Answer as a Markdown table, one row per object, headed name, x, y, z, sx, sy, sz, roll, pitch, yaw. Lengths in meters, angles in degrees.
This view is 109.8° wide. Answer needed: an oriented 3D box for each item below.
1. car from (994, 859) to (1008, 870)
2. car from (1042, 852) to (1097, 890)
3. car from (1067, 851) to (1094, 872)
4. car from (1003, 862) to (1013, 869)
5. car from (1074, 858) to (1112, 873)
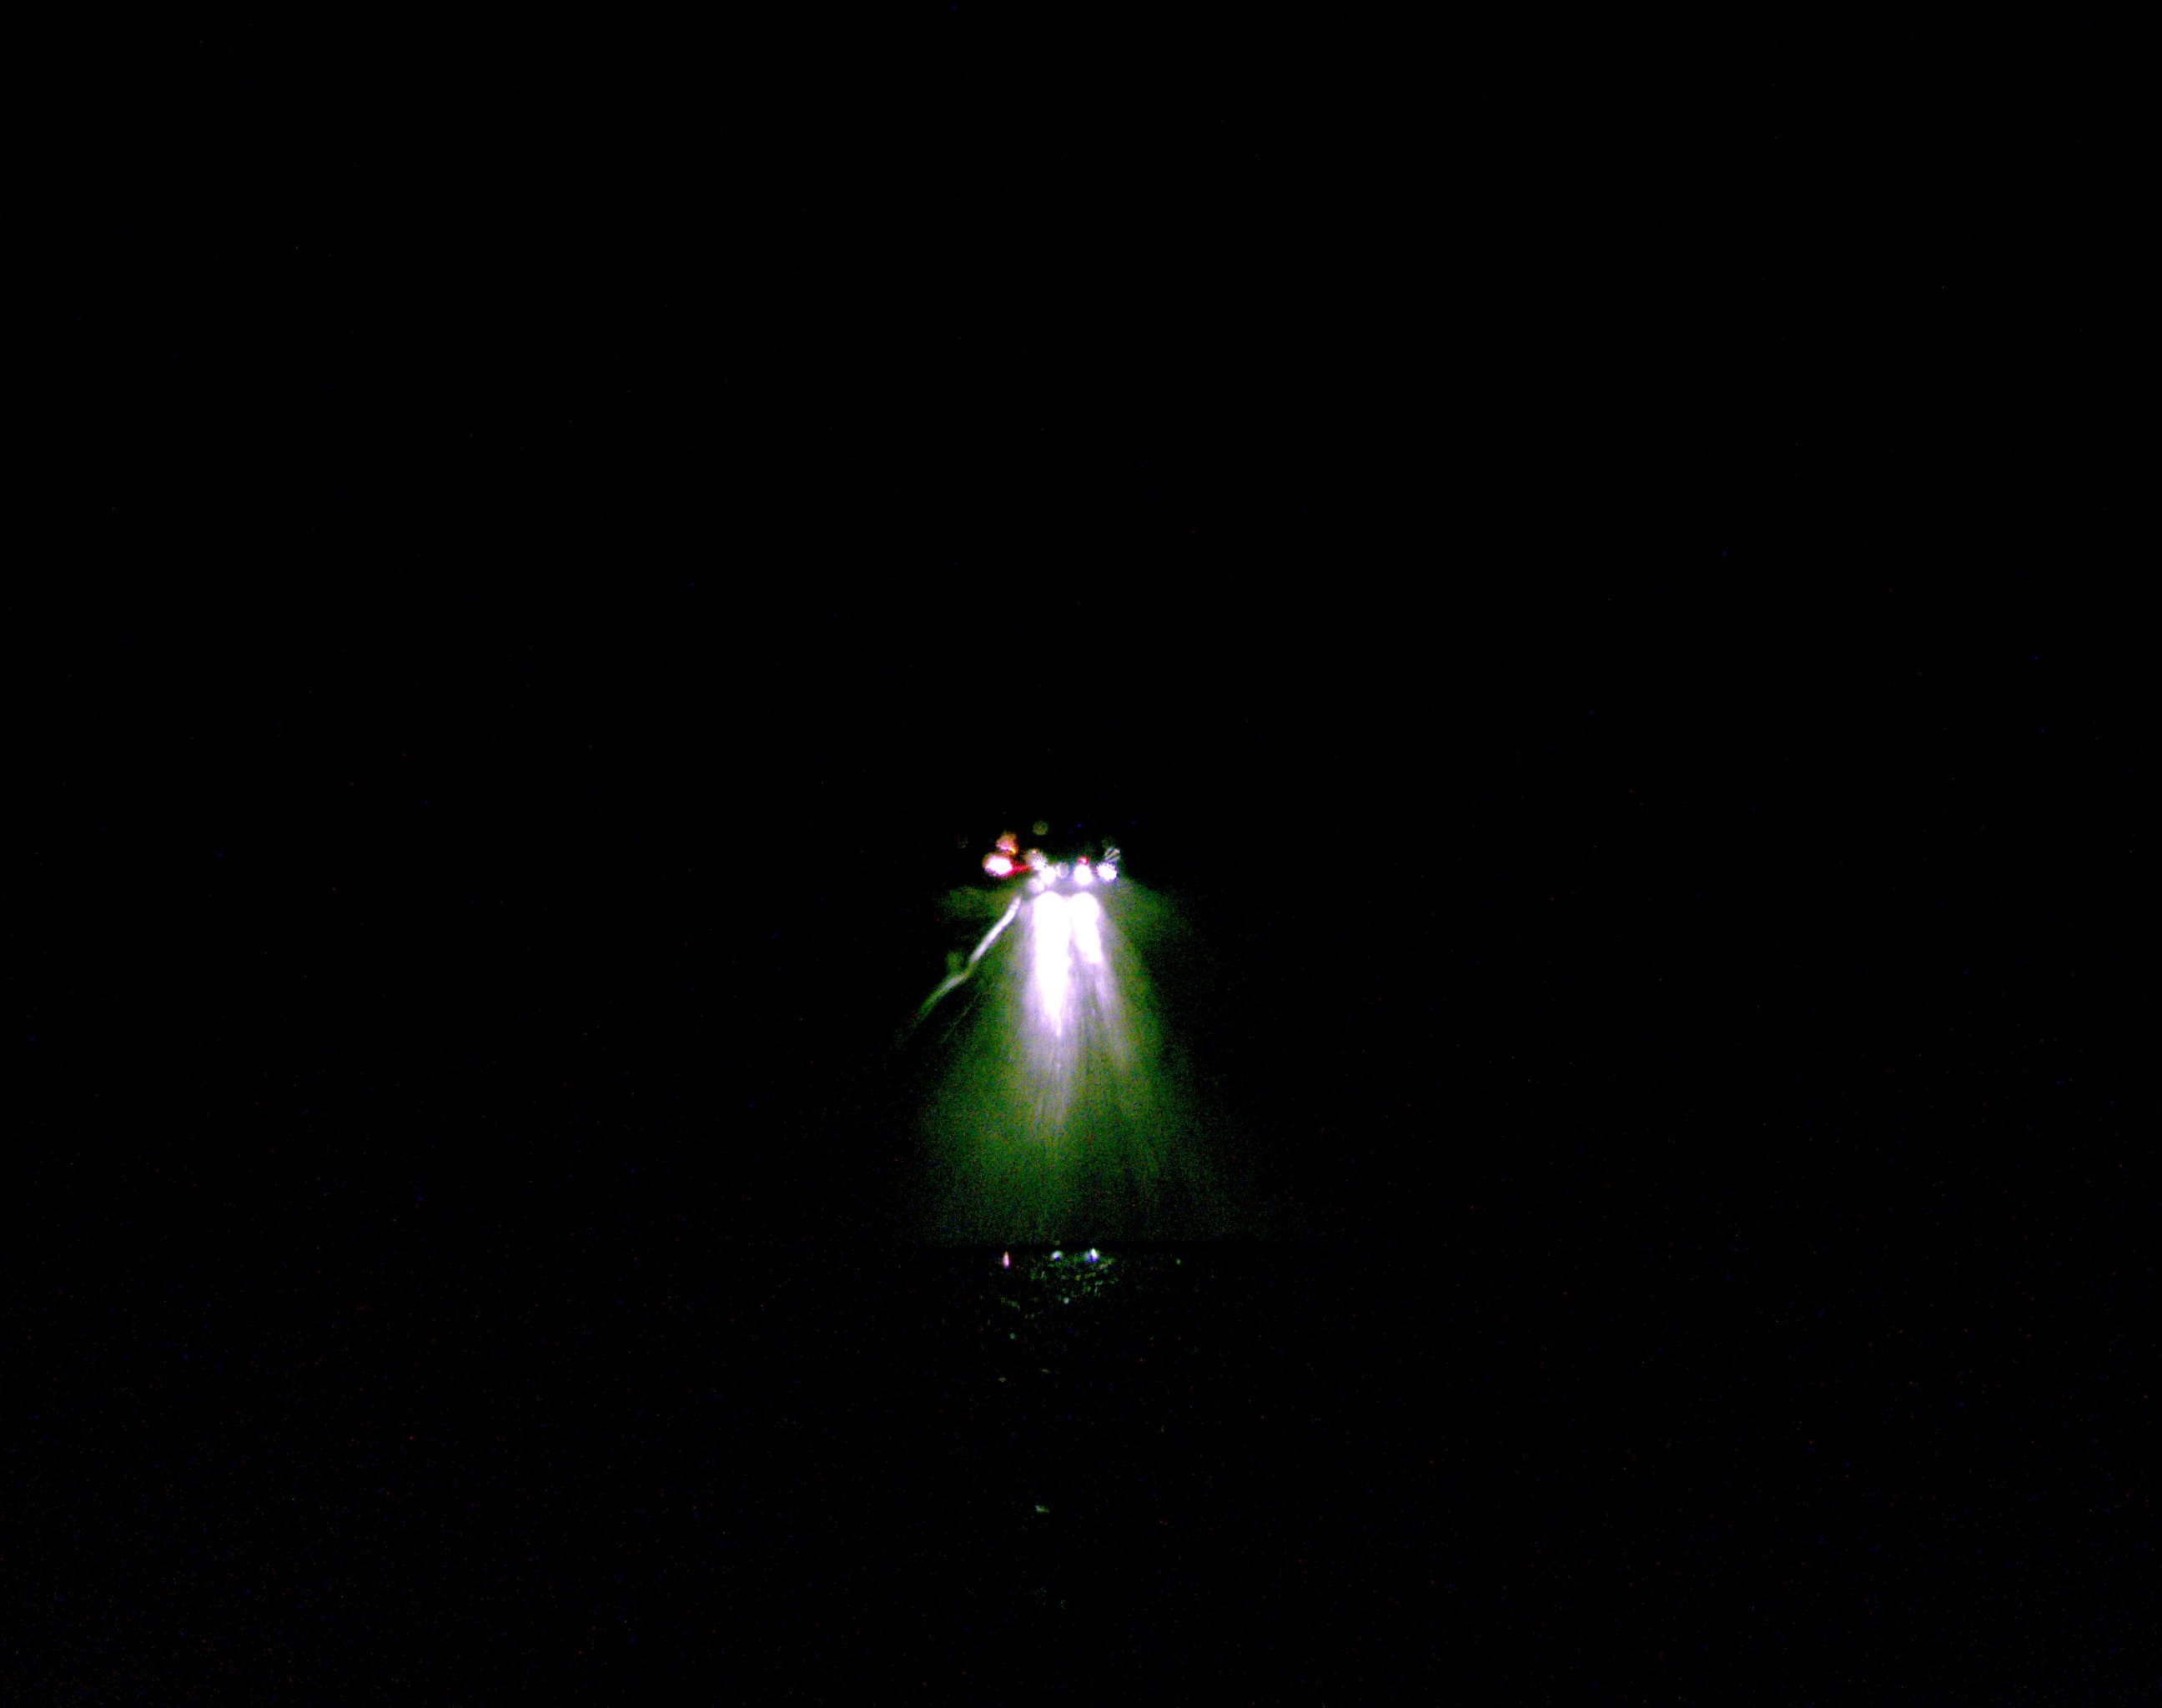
| name | x | y | z | sx | sy | sz | roll | pitch | yaw |
| --- | --- | --- | --- | --- | --- | --- | --- | --- | --- |
| car | -12.300 | 1.650 | 117.307 | 1.903 | 1.551 | 3.997 | 2 | -1 | -9 |
| car | -0.594 | 0.732 | 34.350 | 1.903 | 1.551 | 3.997 | 2 | -1 | -9 |
| car | -0.043 | 0.678 | 64.428 | 1.848 | 1.710 | 3.958 | -1 | -1 | -7 |
| car | -14.978 | 2.439 | 155.526 | 1.761 | 1.397 | 4.484 | -1 | -1 | -9 |
| car | 1.696 | 1.591 | 105.554 | 4.950 | 1.827 | 1.933 | 4 | -1 | -8 |
